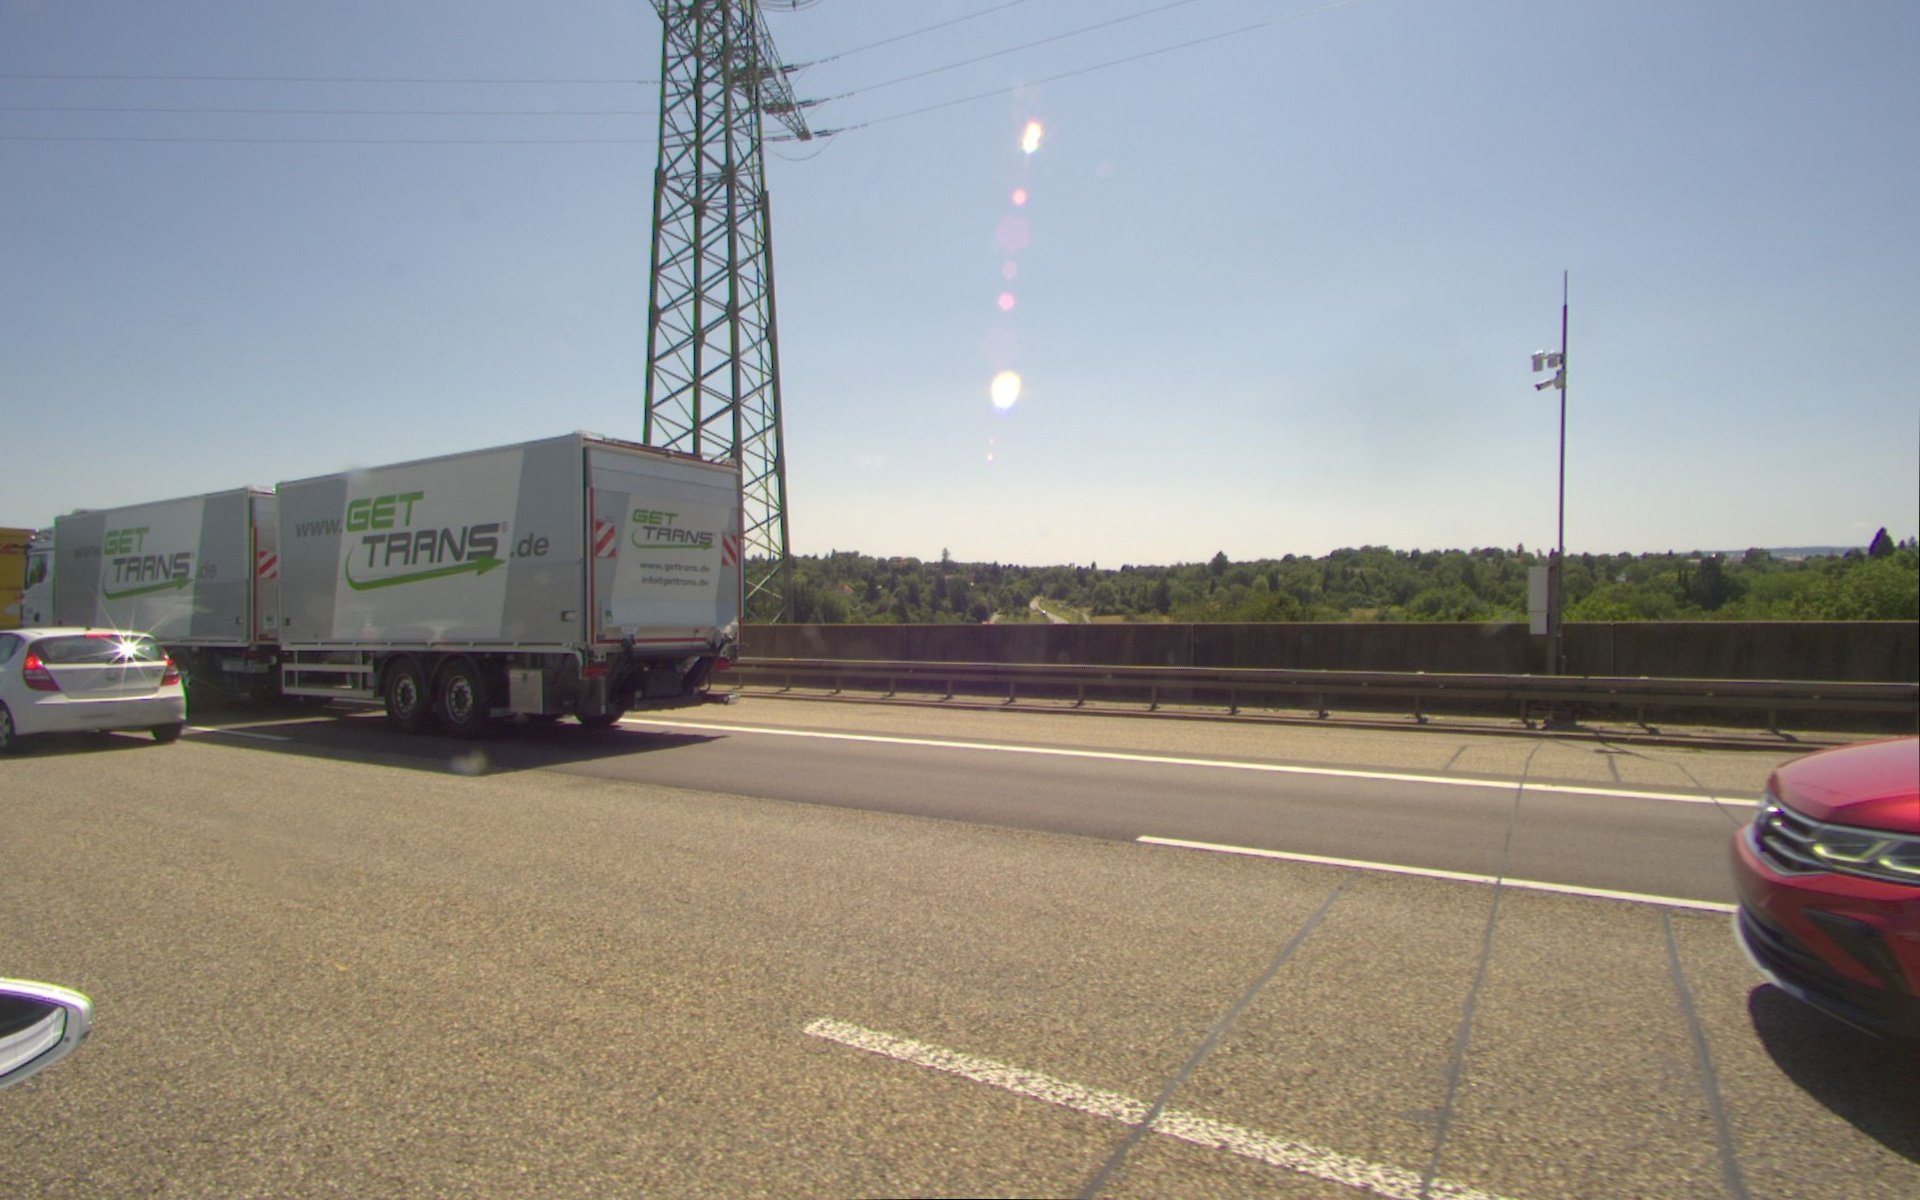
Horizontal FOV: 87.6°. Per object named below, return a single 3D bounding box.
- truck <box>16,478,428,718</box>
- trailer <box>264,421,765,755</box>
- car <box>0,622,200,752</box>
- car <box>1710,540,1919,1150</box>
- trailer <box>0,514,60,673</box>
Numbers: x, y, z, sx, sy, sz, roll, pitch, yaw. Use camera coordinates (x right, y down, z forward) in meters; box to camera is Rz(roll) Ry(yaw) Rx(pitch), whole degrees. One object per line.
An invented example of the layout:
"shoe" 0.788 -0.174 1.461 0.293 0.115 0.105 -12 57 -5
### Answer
"truck" -14.678 0.042 19.429 10.851 3.695 2.652 -1 0 32
"trailer" -6.680 -0.078 14.480 7.899 3.748 2.693 -1 0 32
"car" -12.100 1.041 13.348 4.232 1.474 1.785 -1 -1 32
"car" 4.630 0.668 2.572 4.163 1.683 1.772 -1 -1 32
"trailer" -29.691 -0.104 29.175 8.883 4.293 2.860 -1 -2 32
